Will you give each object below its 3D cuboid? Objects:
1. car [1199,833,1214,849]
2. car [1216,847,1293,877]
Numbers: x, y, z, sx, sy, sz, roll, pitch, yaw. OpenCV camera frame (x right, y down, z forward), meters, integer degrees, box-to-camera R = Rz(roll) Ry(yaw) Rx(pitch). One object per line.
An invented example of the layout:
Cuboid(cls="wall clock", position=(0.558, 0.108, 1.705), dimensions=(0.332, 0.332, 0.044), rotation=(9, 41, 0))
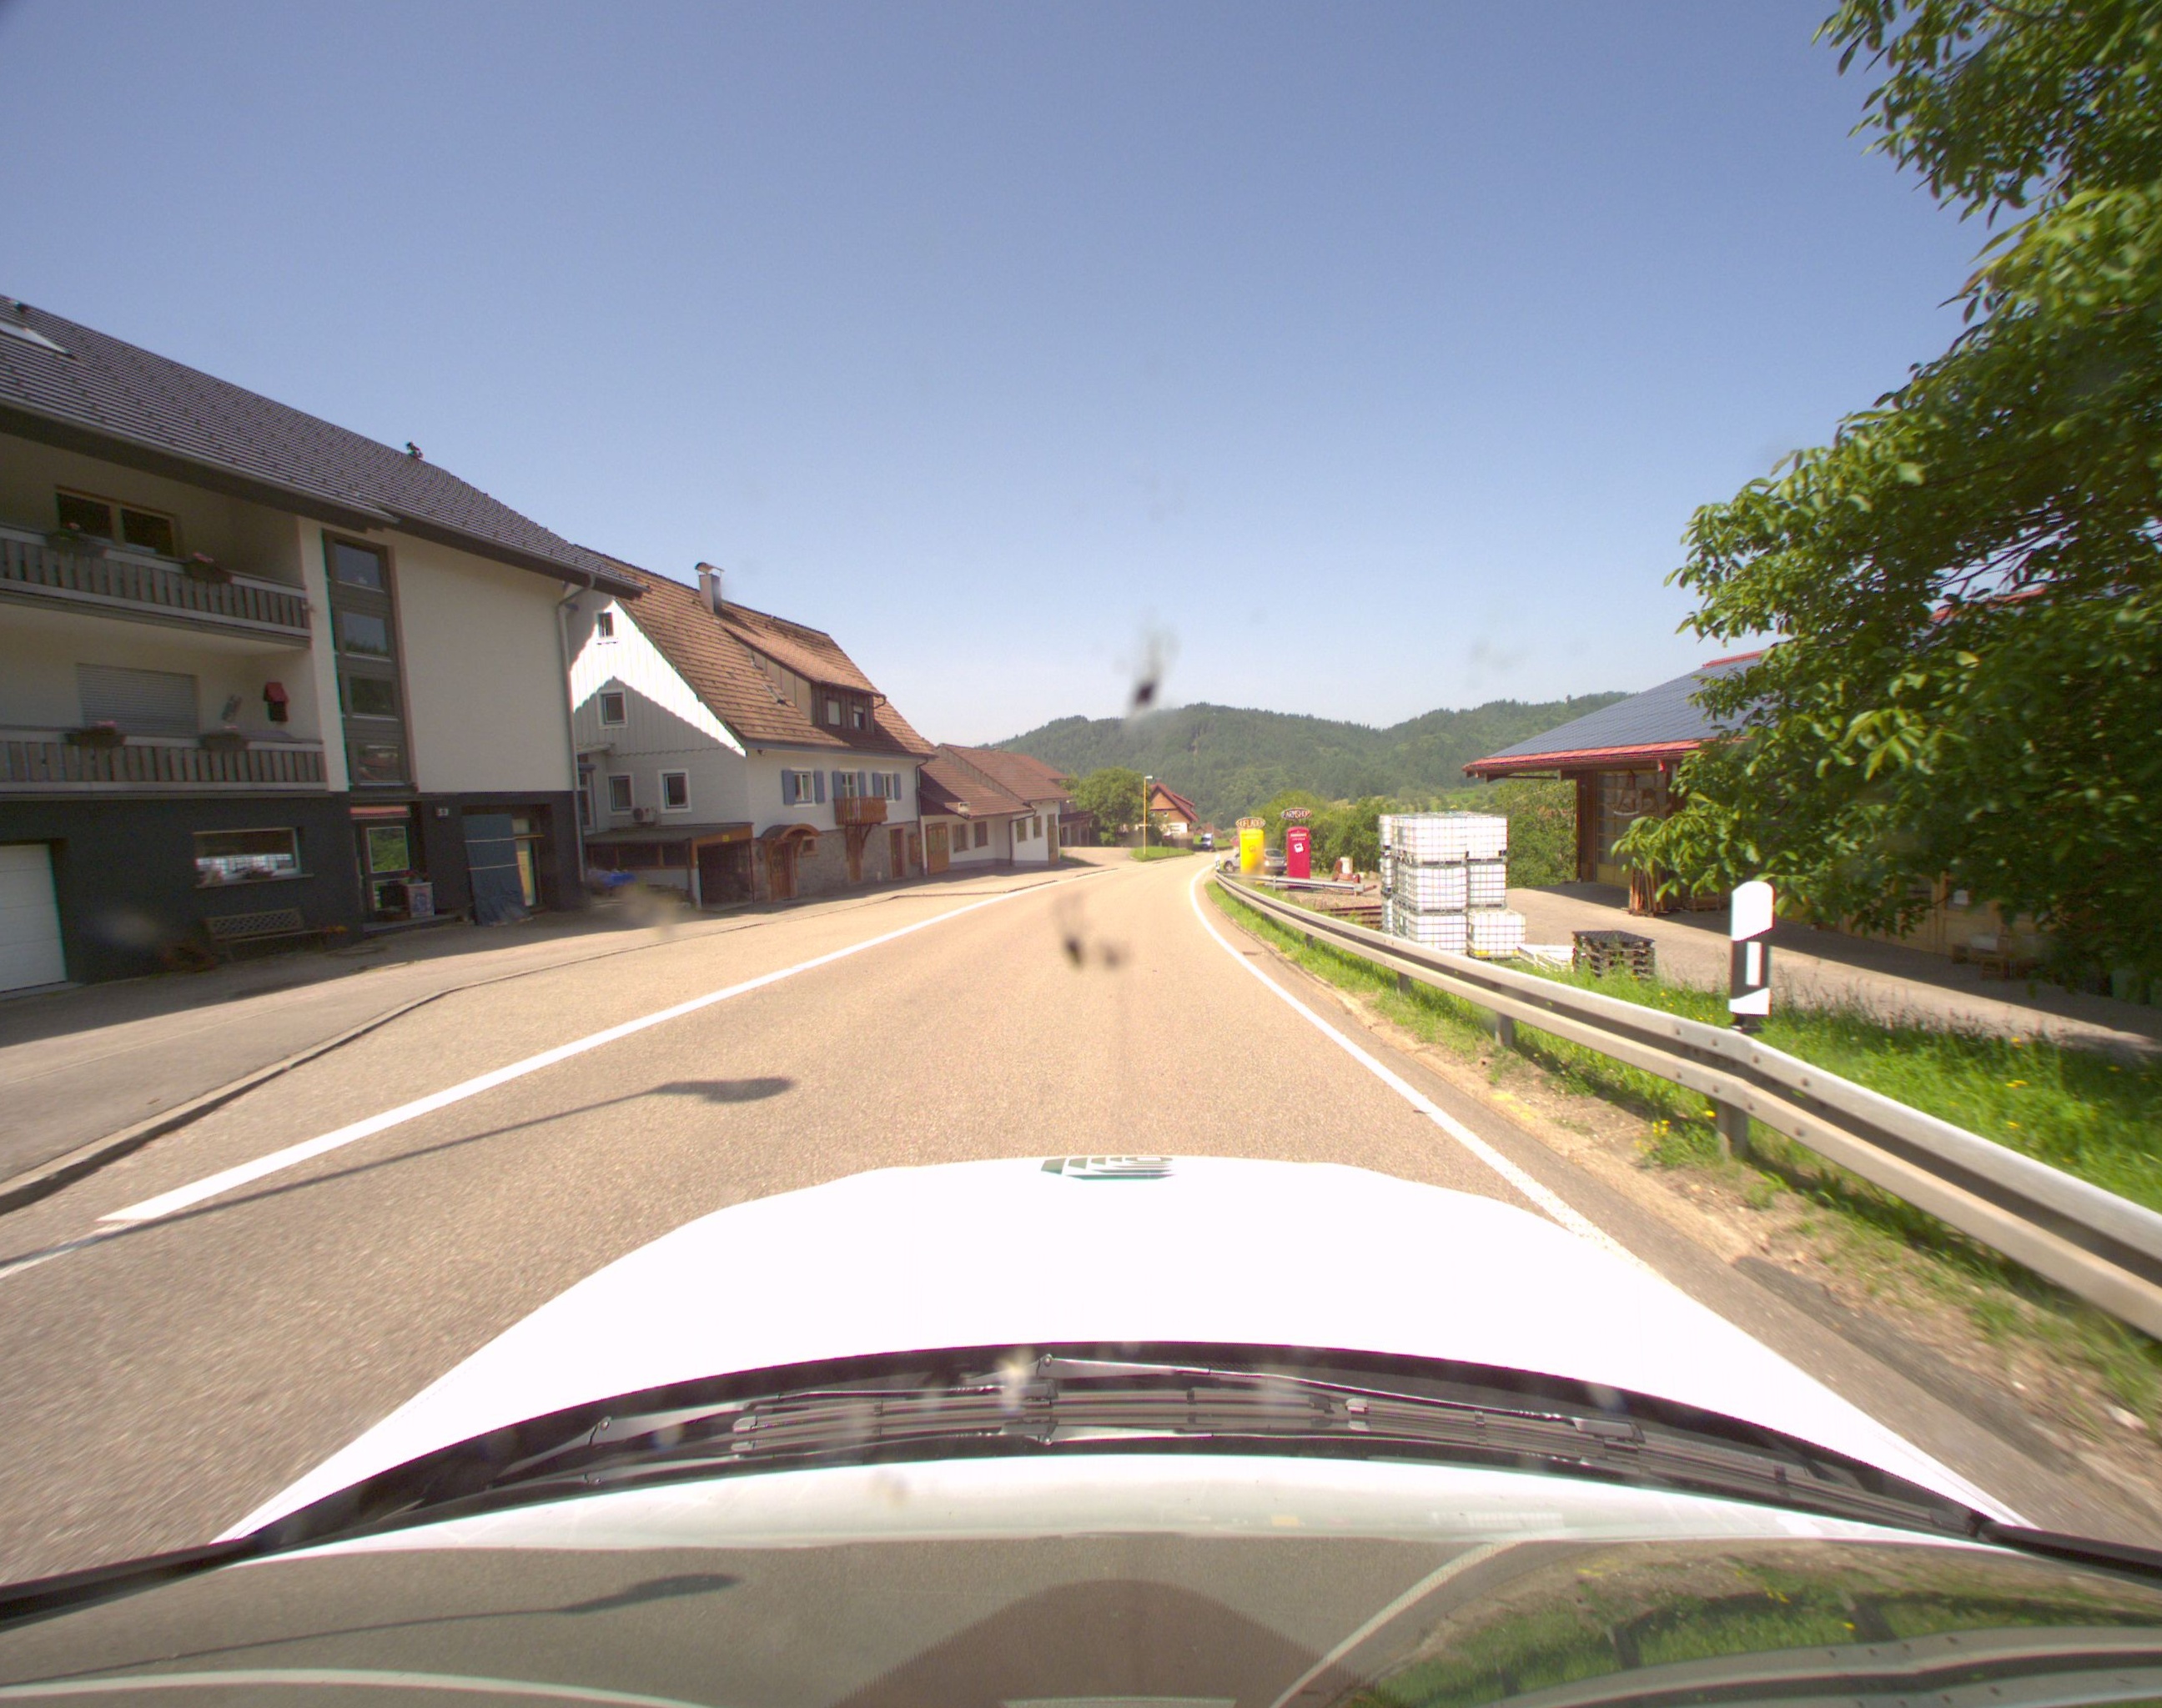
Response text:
Cuboid(cls="car", position=(22.983, -2.412, 148.905), dimensions=(2.052, 2.688, 7.204), rotation=(-1, 3, 14))
Cuboid(cls="car", position=(10.160, 0.464, 48.035), dimensions=(1.911, 1.570, 4.420), rotation=(1, 1, -30))
